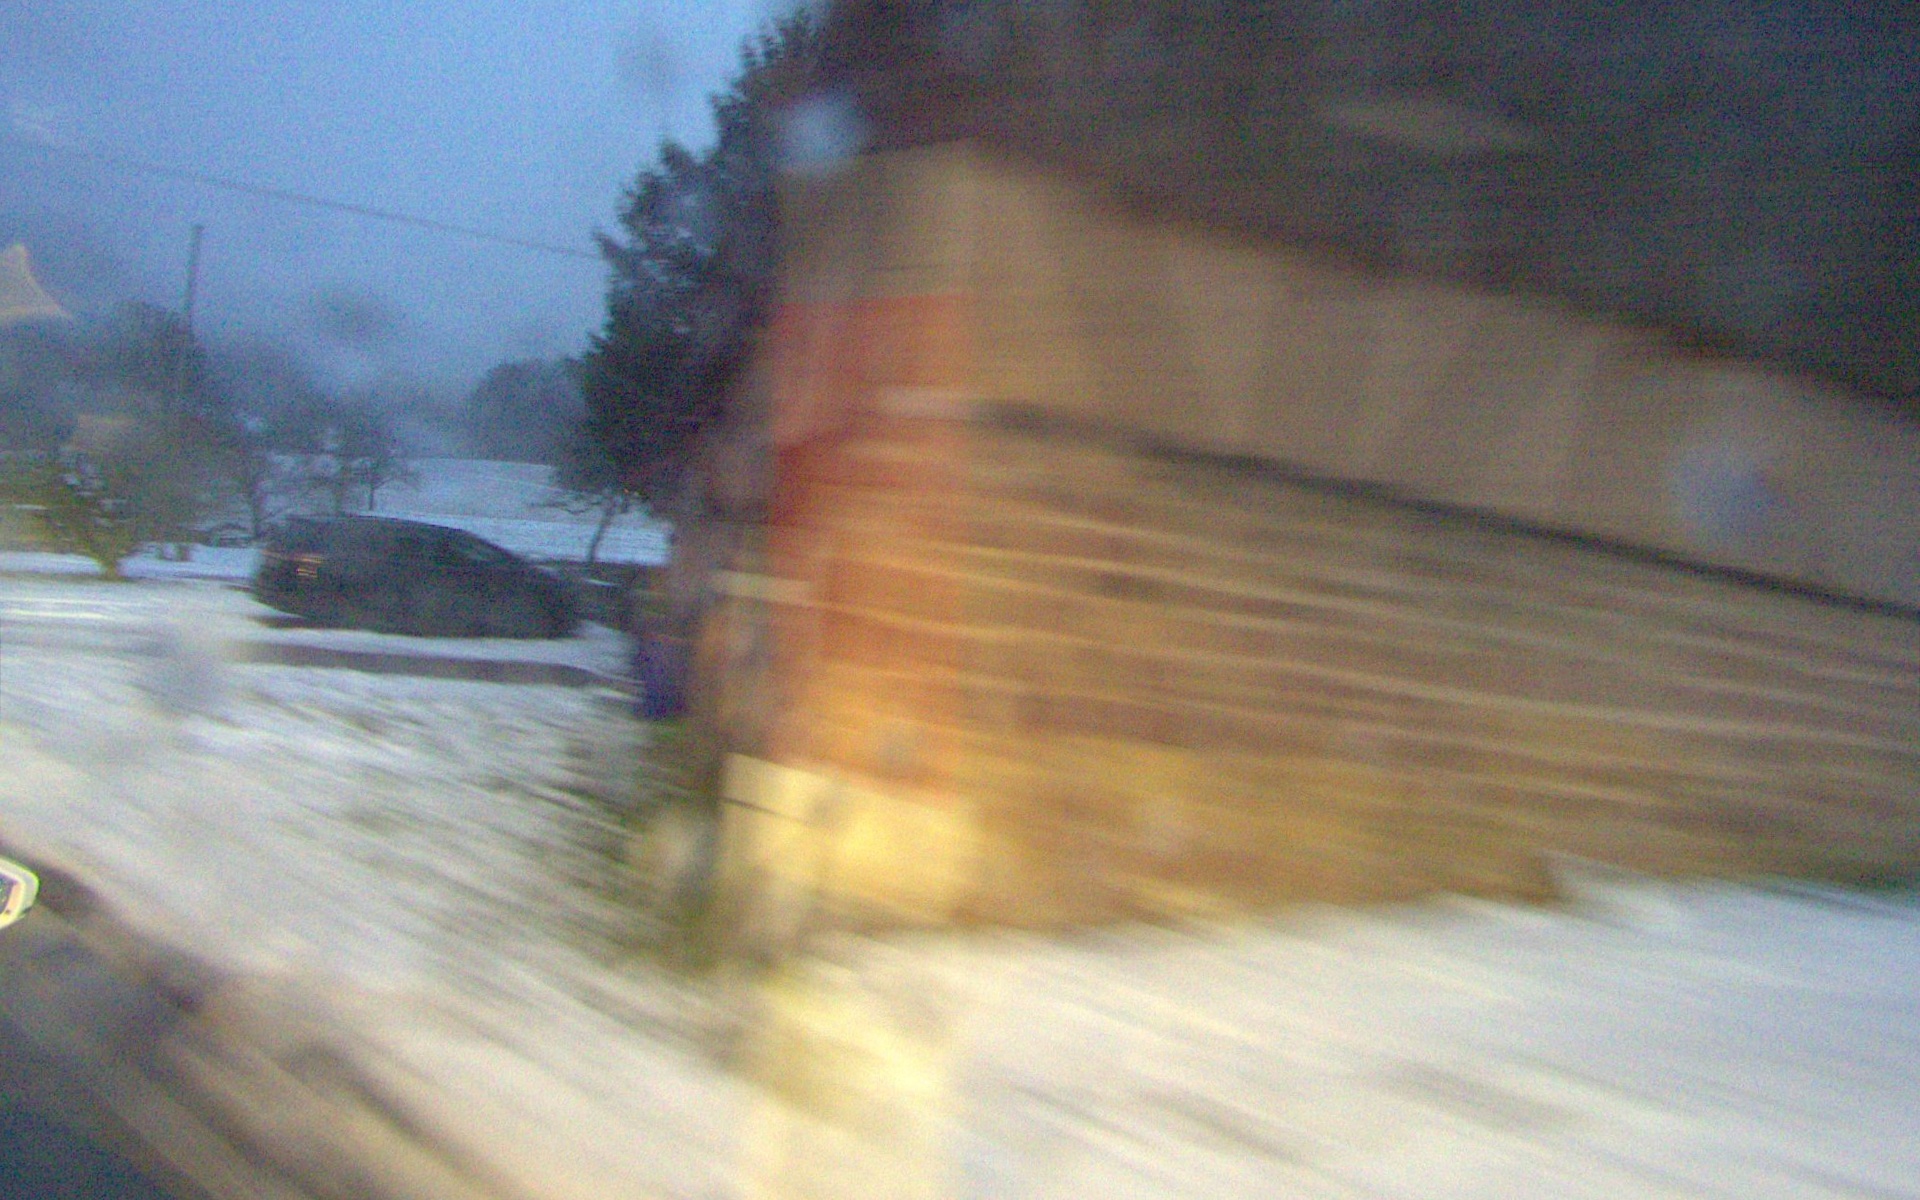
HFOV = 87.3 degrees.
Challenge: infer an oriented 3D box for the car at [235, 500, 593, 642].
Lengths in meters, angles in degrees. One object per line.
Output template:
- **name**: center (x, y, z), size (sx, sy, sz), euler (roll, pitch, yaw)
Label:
- **car**: center (-8.199, -0.362, 15.468), size (1.834, 1.678, 4.390), euler (8, 2, 39)
